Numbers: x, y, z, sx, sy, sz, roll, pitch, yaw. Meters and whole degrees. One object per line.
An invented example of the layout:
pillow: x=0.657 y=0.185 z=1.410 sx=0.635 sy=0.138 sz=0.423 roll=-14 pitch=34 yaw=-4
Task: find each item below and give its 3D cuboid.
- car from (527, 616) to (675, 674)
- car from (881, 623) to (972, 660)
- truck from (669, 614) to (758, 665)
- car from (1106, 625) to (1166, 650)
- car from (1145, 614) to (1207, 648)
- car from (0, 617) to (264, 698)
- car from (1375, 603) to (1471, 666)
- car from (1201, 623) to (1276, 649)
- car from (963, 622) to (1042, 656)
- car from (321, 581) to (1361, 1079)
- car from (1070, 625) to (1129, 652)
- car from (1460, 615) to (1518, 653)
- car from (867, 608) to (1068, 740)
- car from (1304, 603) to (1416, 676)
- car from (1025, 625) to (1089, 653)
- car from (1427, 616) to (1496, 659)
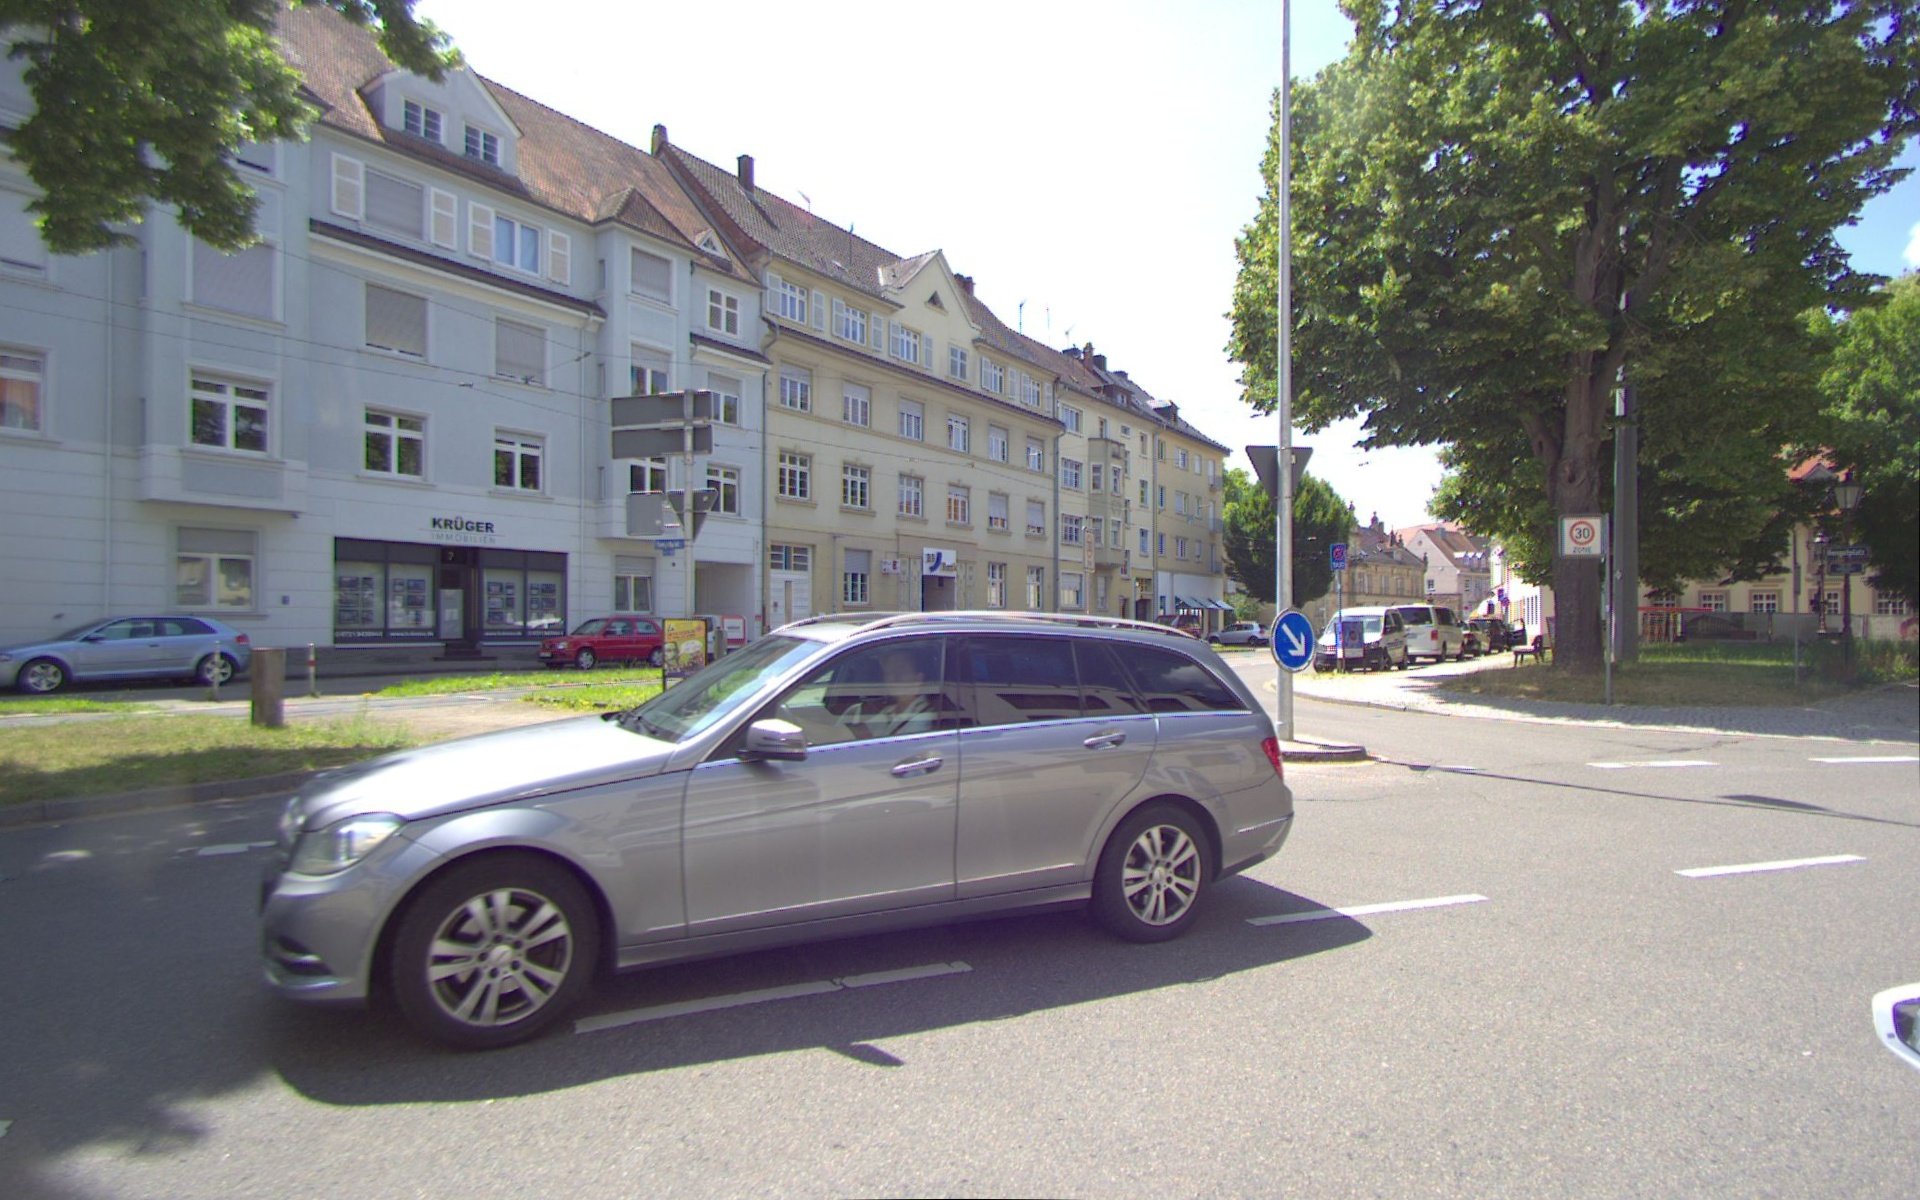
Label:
car: x=-9.843 y=1.220 z=27.715 sx=1.551 sy=1.470 sz=3.614 roll=-3 pitch=-3 yaw=35
car: x=-1.292 y=1.640 z=40.065 sx=1.664 sy=1.378 sz=3.845 roll=-3 pitch=-3 yaw=35
truck: x=-7.636 y=1.218 z=31.230 sx=1.111 sy=1.514 sz=2.587 roll=-3 pitch=-3 yaw=34
car: x=9.817 y=2.074 z=55.936 sx=1.620 sy=1.294 sz=4.250 roll=-3 pitch=-3 yaw=35
car: x=12.989 y=1.850 z=60.201 sx=1.829 sy=1.936 sz=4.755 roll=-3 pitch=-3 yaw=35
car: x=-15.986 y=1.045 z=19.061 sx=1.783 sy=1.374 sz=4.236 roll=-3 pitch=-3 yaw=35
car: x=16.120 y=1.148 z=34.821 sx=2.023 sy=2.029 sz=5.229 roll=-1 pitch=-1 yaw=37
car: x=17.607 y=2.267 z=63.591 sx=4.144 sy=1.524 sz=1.999 roll=-3 pitch=-3 yaw=32
car: x=1.927 y=1.695 z=44.592 sx=1.664 sy=1.408 sz=3.845 roll=-3 pitch=-3 yaw=35
car: x=-0.340 y=0.738 z=4.788 sx=4.349 sy=1.508 sz=1.732 roll=1 pitch=-1 yaw=-26
car: x=7.312 y=2.003 z=52.407 sx=1.581 sy=1.294 sz=3.575 roll=-3 pitch=-3 yaw=35
car: x=24.492 y=1.540 z=46.437 sx=1.760 sy=1.715 sz=4.185 roll=-1 pitch=-1 yaw=37
car: x=-0.072 y=0.880 z=13.743 sx=1.785 sy=1.512 sz=3.988 roll=0 pitch=-1 yaw=-15
car: x=11.198 y=1.059 z=27.935 sx=1.967 sy=1.850 sz=4.408 roll=-1 pitch=-1 yaw=35
car: x=4.720 y=1.875 z=48.644 sx=1.664 sy=1.294 sz=3.278 roll=-3 pitch=-3 yaw=35
car: x=20.444 y=1.479 z=40.853 sx=1.760 sy=1.645 sz=4.469 roll=-1 pitch=-1 yaw=37
